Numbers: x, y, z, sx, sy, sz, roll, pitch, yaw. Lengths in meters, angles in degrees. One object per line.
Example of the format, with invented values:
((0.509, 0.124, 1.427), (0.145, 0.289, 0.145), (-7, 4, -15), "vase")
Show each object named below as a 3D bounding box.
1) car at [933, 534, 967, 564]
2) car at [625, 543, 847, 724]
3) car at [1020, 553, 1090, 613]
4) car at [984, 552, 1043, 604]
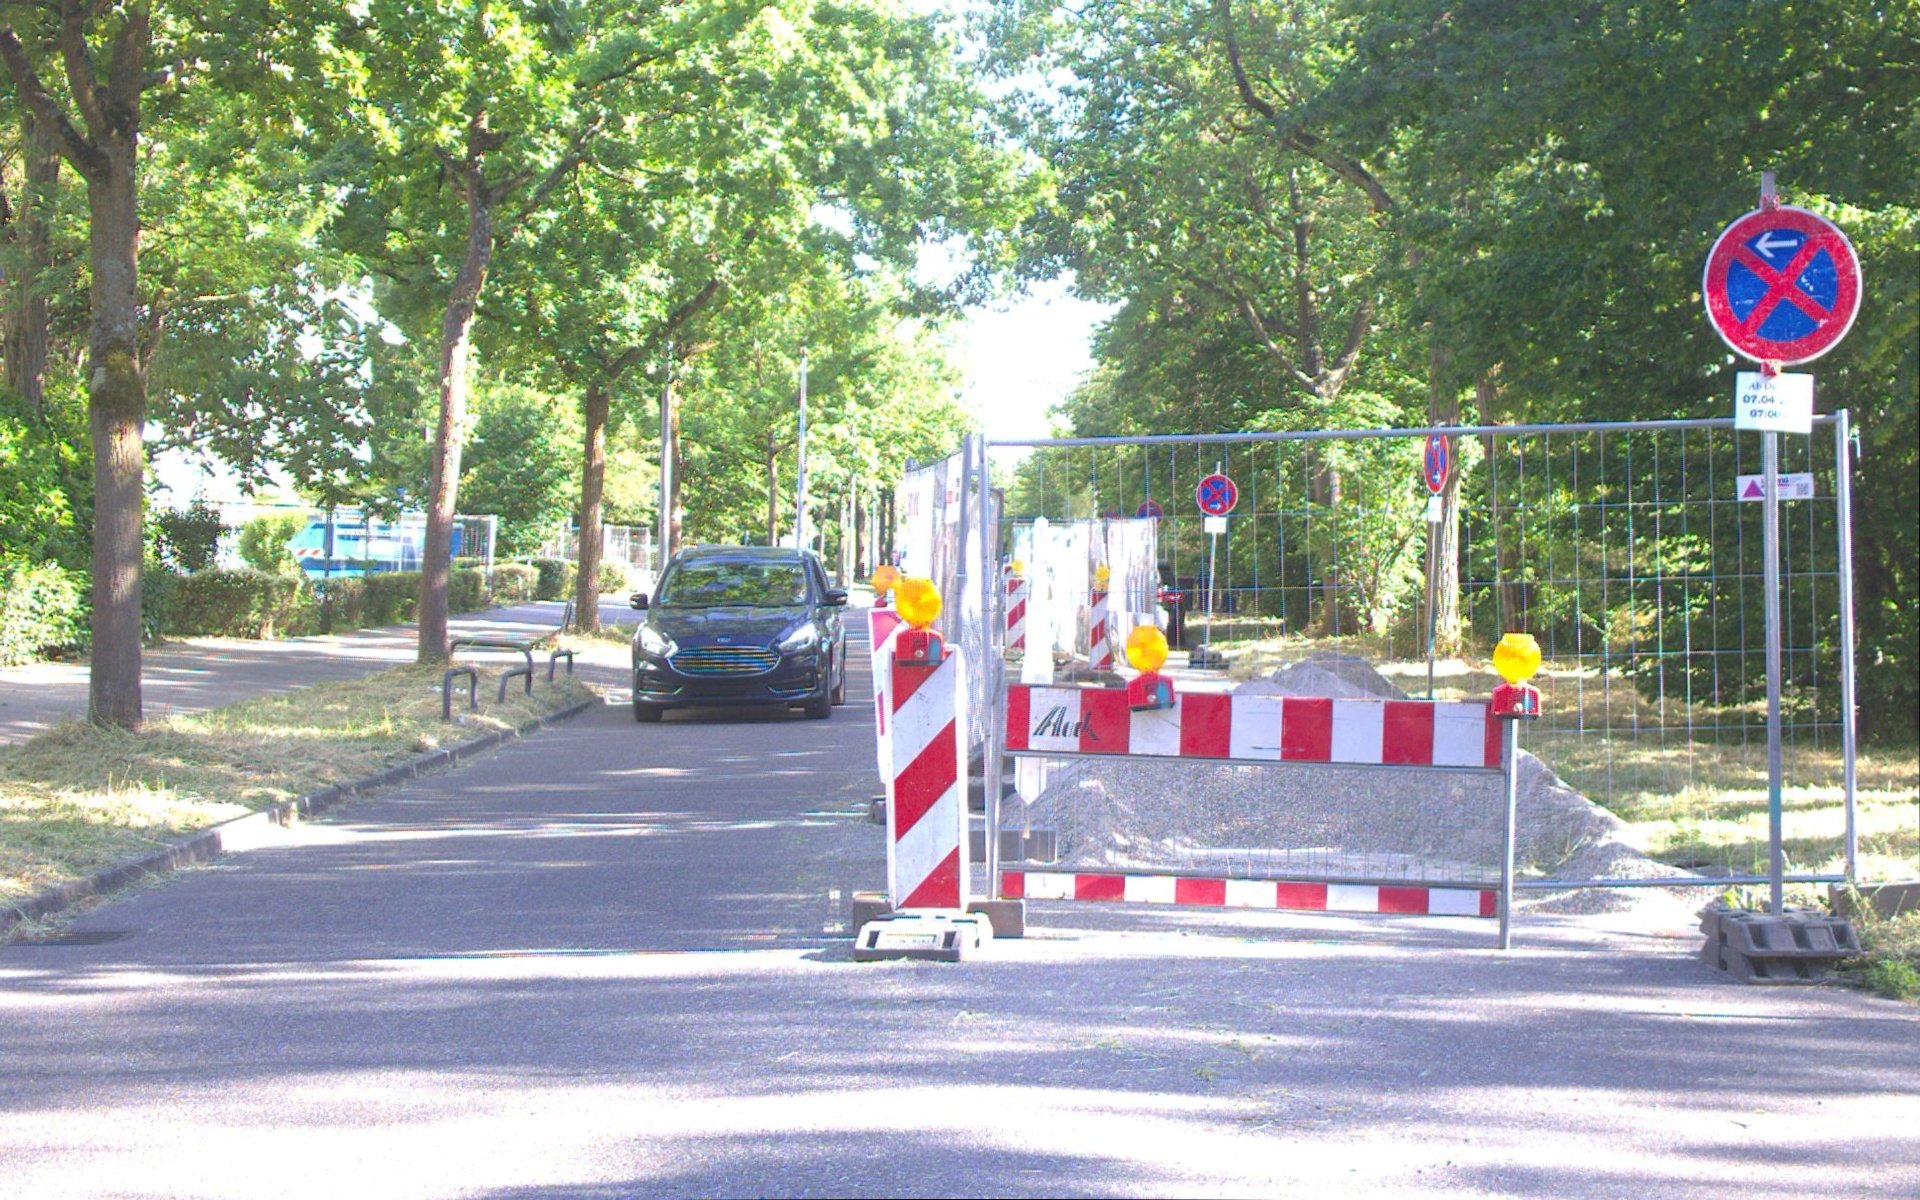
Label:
((-0.599, -2.935, 198.690), (1.710, 1.579, 4.000), (2, 0, -3), "car")
((-2.121, 0.272, 33.687), (1.821, 1.619, 4.492), (-1, 1, 1), "car")
((2.127, -0.379, 77.610), (1.361, 1.298, 3.481), (2, 0, -2), "car")
((1.383, -0.565, 90.591), (1.361, 1.298, 3.481), (2, 0, -2), "car")
